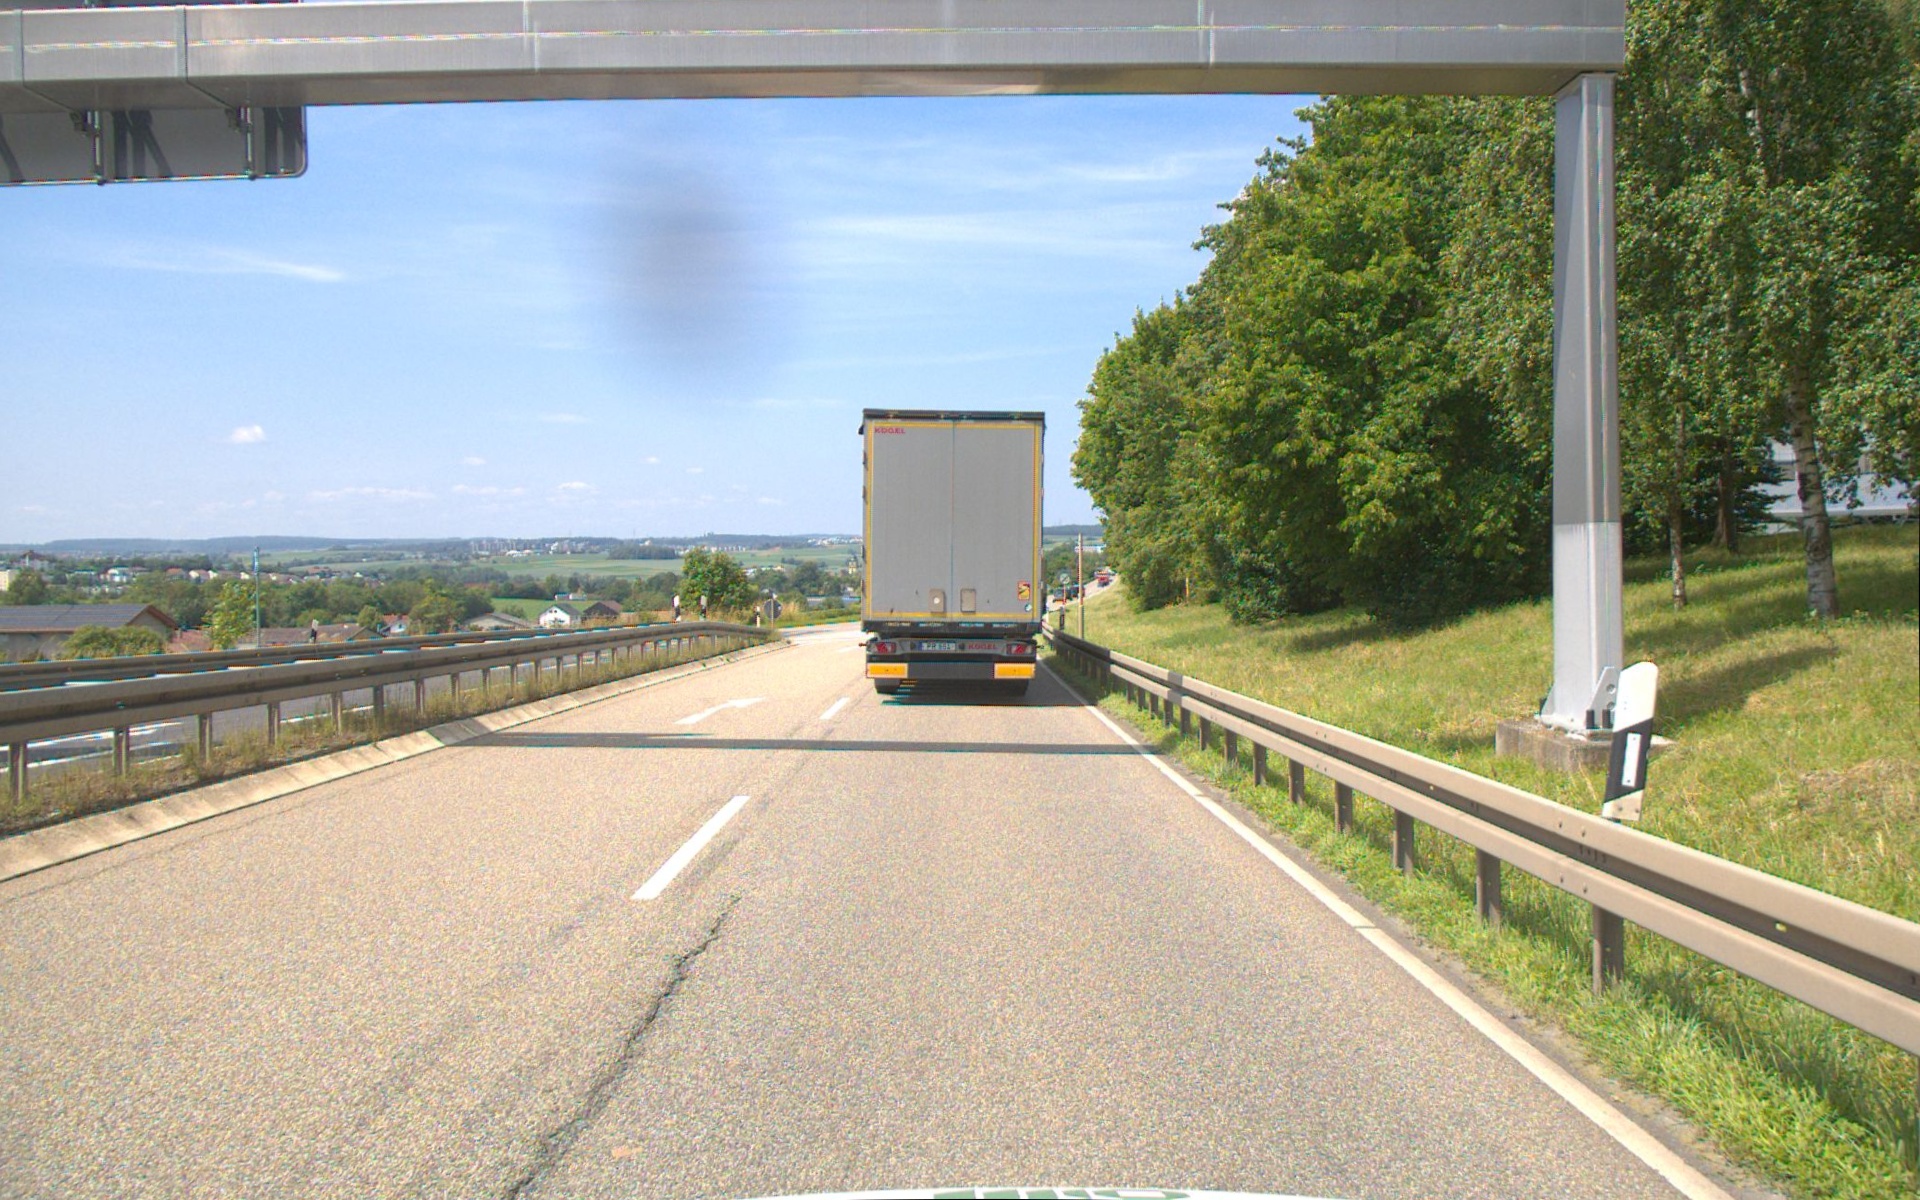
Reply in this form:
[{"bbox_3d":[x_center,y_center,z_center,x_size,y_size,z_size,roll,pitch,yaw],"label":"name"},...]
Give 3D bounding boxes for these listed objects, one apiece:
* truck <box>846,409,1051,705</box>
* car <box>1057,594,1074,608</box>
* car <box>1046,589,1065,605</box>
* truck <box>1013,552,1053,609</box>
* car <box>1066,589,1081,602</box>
[{"bbox_3d":[-0.194,-0.608,28.206,2.742,3.998,11.340,1,0,0],"label":"truck"},{"bbox_3d":[13.124,0.096,206.220,1.750,1.717,3.999,0,-1,-1],"label":"car"},{"bbox_3d":[10.698,-0.375,185.411,1.750,1.717,3.999,0,-1,-1],"label":"car"},{"bbox_3d":[5.252,-1.323,117.810,2.600,3.830,10.166,0,-1,4],"label":"truck"},{"bbox_3d":[15.651,-0.601,227.891,1.750,1.717,3.999,0,-1,-1],"label":"car"}]
